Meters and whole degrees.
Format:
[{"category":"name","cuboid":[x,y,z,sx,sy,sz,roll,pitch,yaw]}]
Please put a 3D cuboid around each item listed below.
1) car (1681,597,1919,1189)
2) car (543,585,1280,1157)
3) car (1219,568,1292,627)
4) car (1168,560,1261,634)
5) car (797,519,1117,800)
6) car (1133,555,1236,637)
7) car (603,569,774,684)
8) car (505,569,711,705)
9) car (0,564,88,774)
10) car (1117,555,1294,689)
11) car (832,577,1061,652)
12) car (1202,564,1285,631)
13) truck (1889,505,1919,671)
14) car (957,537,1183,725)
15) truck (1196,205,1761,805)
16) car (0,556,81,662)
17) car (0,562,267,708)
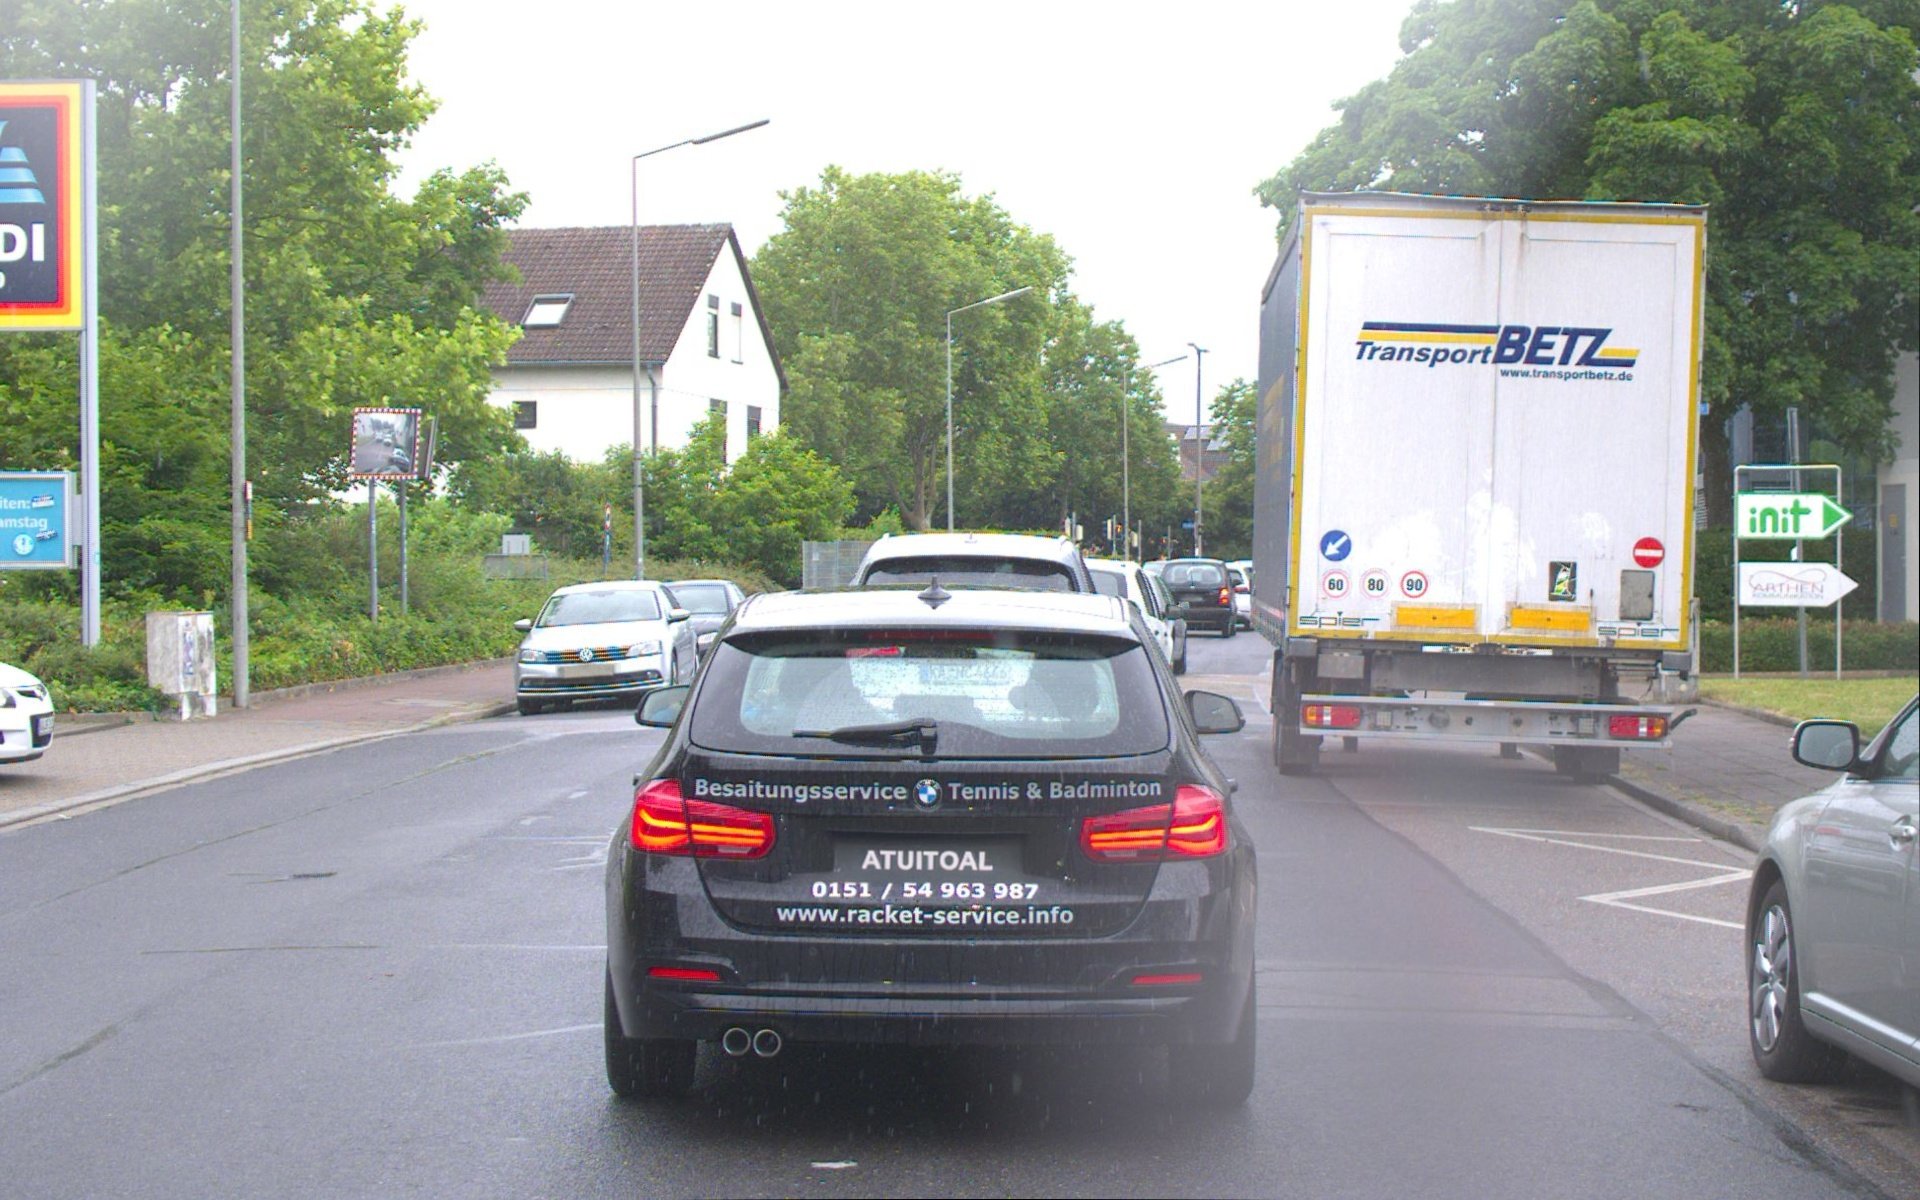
[{"category":"car","cuboid":[3.271,0.732,9.009,1.797,1.436,4.345,0,1,-1]},{"category":"car","cuboid":[-0.193,0.665,10.494,1.804,1.390,4.000,1,0,-2]},{"category":"car","cuboid":[8.221,-0.066,95.323,1.805,1.581,3.999,1,0,8]},{"category":"car","cuboid":[5.675,-0.081,76.380,1.805,1.581,3.999,1,0,8]},{"category":"car","cuboid":[-0.092,0.328,21.608,1.804,1.581,4.000,1,0,-2]},{"category":"car","cuboid":[4.588,-0.089,69.880,1.805,1.581,3.999,1,0,8]},{"category":"car","cuboid":[-3.538,0.314,45.390,1.706,1.362,3.838,-2,1,3]},{"category":"car","cuboid":[-3.961,0.380,39.346,1.705,1.362,4.601,-2,1,2]},{"category":"car","cuboid":[-8.582,0.451,24.756,4.190,1.455,1.712,1,1,-3]},{"category":"car","cuboid":[3.228,0.280,45.904,1.993,1.678,4.000,1,0,-1]},{"category":"car","cuboid":[-0.242,0.268,63.709,4.187,1.358,1.589,0,1,1]},{"category":"car","cuboid":[6.997,-0.072,84.539,1.805,1.581,3.999,1,0,8]},{"category":"truck","cuboid":[15.780,-0.165,44.516,6.923,2.132,2.094,0,1,1]},{"category":"car","cuboid":[1.066,0.256,31.501,1.804,1.581,3.999,1,0,5]},{"category":"truck","cuboid":[3.463,-0.632,25.083,2.741,3.598,7.750,2,1,-1]},{"category":"car","cuboid":[-15.270,0.113,50.937,3.987,1.535,1.911,0,1,1]},{"category":"car","cuboid":[-9.455,0.349,37.058,3.570,1.455,1.712,2,1,2]}]
